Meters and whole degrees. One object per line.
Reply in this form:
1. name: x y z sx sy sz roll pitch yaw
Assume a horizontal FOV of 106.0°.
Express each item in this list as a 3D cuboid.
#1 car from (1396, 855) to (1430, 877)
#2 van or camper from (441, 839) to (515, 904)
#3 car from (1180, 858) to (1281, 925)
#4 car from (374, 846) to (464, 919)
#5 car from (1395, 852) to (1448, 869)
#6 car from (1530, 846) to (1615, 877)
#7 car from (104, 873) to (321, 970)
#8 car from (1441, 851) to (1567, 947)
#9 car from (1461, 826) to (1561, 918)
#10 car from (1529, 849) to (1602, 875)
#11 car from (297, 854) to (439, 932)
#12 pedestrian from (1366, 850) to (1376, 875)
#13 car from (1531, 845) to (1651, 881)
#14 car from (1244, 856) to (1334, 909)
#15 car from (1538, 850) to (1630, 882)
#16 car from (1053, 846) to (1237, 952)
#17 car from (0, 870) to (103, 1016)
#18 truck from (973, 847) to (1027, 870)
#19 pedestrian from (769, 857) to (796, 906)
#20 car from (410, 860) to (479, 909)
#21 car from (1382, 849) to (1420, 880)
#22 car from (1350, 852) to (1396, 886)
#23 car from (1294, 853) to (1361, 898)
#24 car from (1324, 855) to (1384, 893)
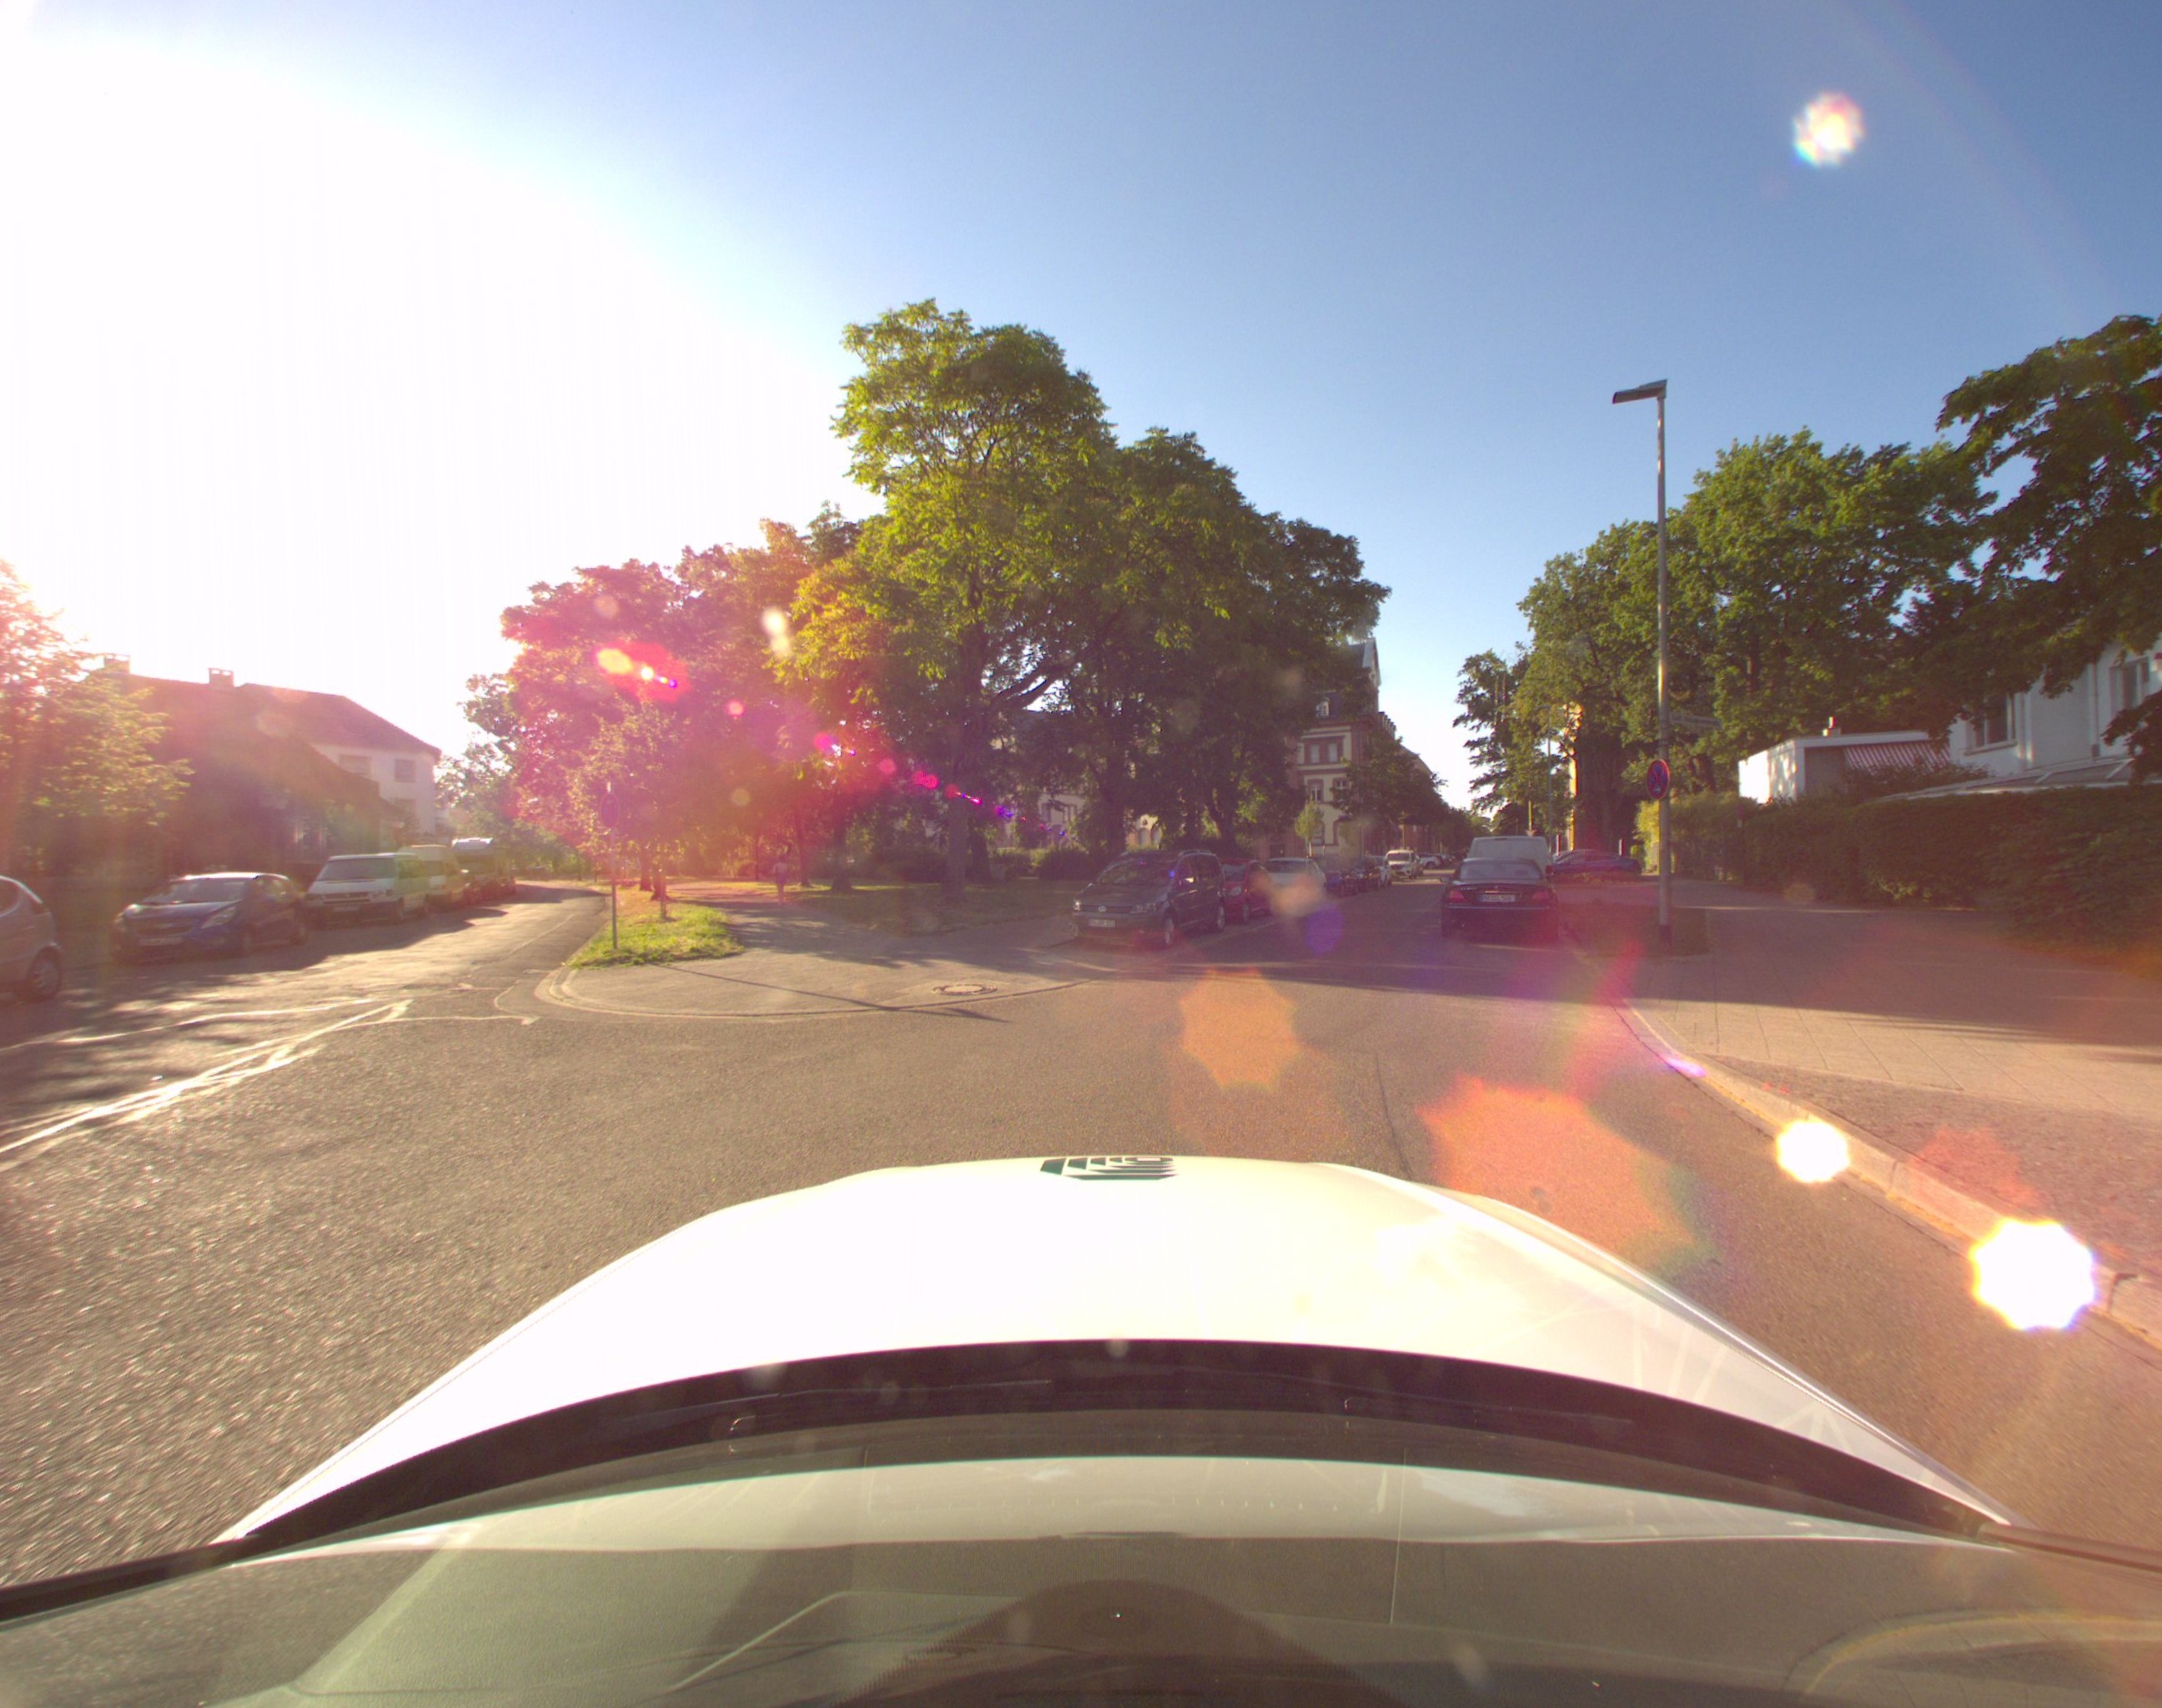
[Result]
1. car: 23.849 0.816 58.436 1.764 1.505 4.580 -1 0 28
2. van or camper: -29.363 0.812 39.833 2.103 2.908 6.272 0 0 -29
3. car: 3.694 0.831 19.665 1.374 1.423 3.447 1 1 29
4. car: -23.435 0.945 29.000 1.864 2.356 5.133 0 0 -32
5. car: 34.094 0.633 81.537 4.798 1.594 1.853 -1 0 25
6. car: 25.682 0.399 42.650 3.465 1.584 1.770 -1 -1 18
7. car: -16.015 1.138 15.268 1.625 1.501 3.664 -1 0 -27
8. car: 7.774 0.699 15.131 1.749 1.468 4.894 -1 0 26
9. car: 10.696 0.394 20.474 1.934 2.014 5.183 -1 0 26
10. car: 31.101 0.529 52.421 3.916 1.517 1.885 -2 -3 29
11. car: -19.924 1.003 23.019 1.861 1.946 4.798 -1 0 -27
12. pedestrian: 20.818 0.576 58.505 0.594 1.784 0.951 -1 -1 24
13. car: 23.627 0.461 37.948 4.545 1.415 1.934 -3 -3 29
14. car: 6.356 0.794 24.631 1.674 1.406 3.999 1 1 29
15. car: 24.801 0.600 40.306 3.648 1.524 1.802 -1 -1 24
16. car: 1.370 0.704 15.278 1.785 1.675 4.347 1 1 29
17. car: -12.604 0.994 8.519 1.714 1.579 3.664 -1 0 -27
18. truck: -10.883 0.646 108.975 7.908 3.029 2.628 -1 -1 43
19. pedestrian: -9.850 0.880 26.888 0.775 1.574 0.763 -1 0 -17
20. car: -26.518 1.218 34.053 1.864 1.886 4.101 0 0 -32
21. car: 20.265 0.626 51.490 1.764 1.841 4.580 -1 0 27
22. car: 13.952 0.707 38.857 1.577 1.526 3.888 -1 0 27
23. car: 9.087 0.746 29.878 1.623 1.495 3.728 1 1 29
24. car: 11.530 0.806 34.215 1.536 1.494 3.967 -1 0 31
